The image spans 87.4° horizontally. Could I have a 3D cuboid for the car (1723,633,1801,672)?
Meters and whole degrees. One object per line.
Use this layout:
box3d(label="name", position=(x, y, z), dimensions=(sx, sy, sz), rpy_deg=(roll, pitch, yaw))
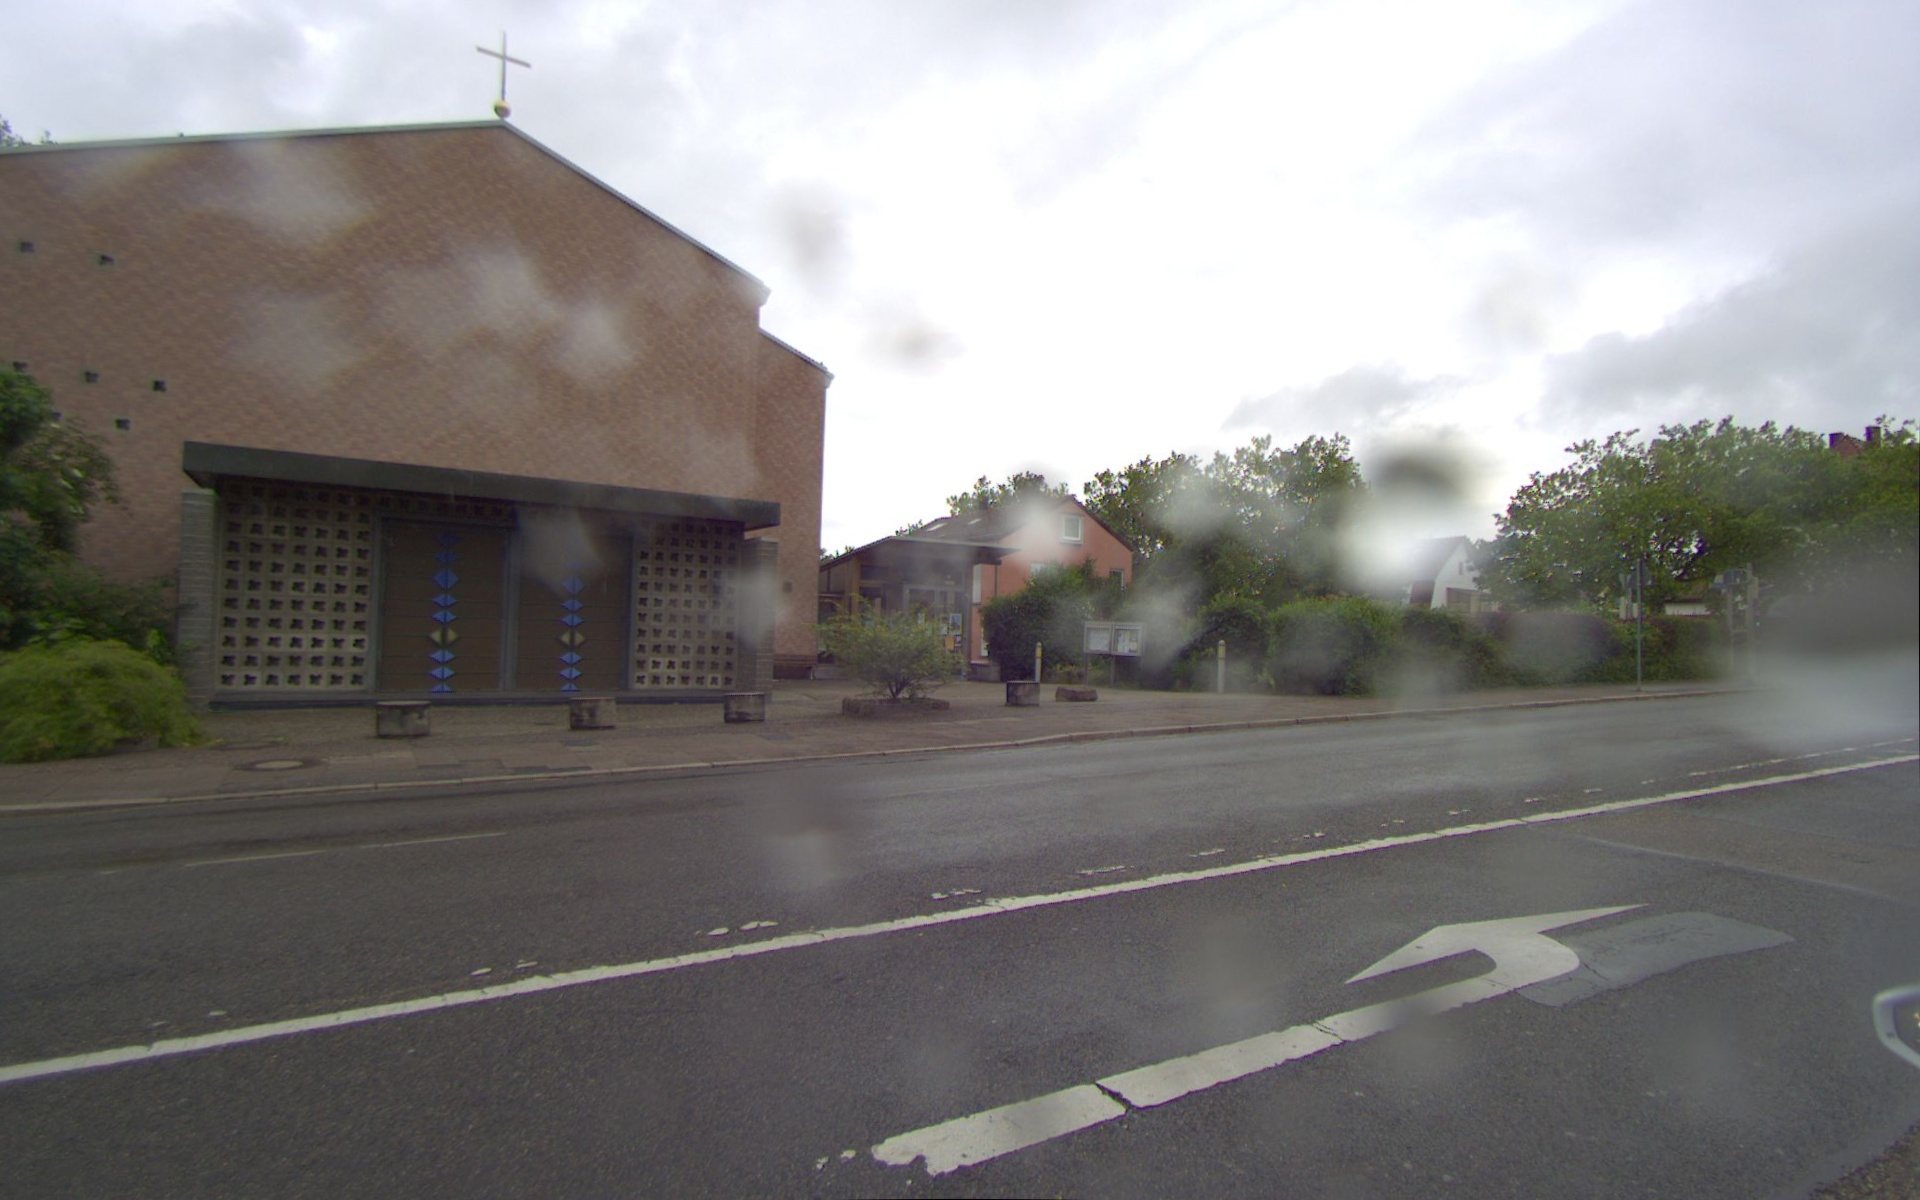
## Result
box3d(label="car", position=(39.169, 2.528, 49.054), dimensions=(3.955, 1.573, 1.798), rpy_deg=(-3, 2, -32))
